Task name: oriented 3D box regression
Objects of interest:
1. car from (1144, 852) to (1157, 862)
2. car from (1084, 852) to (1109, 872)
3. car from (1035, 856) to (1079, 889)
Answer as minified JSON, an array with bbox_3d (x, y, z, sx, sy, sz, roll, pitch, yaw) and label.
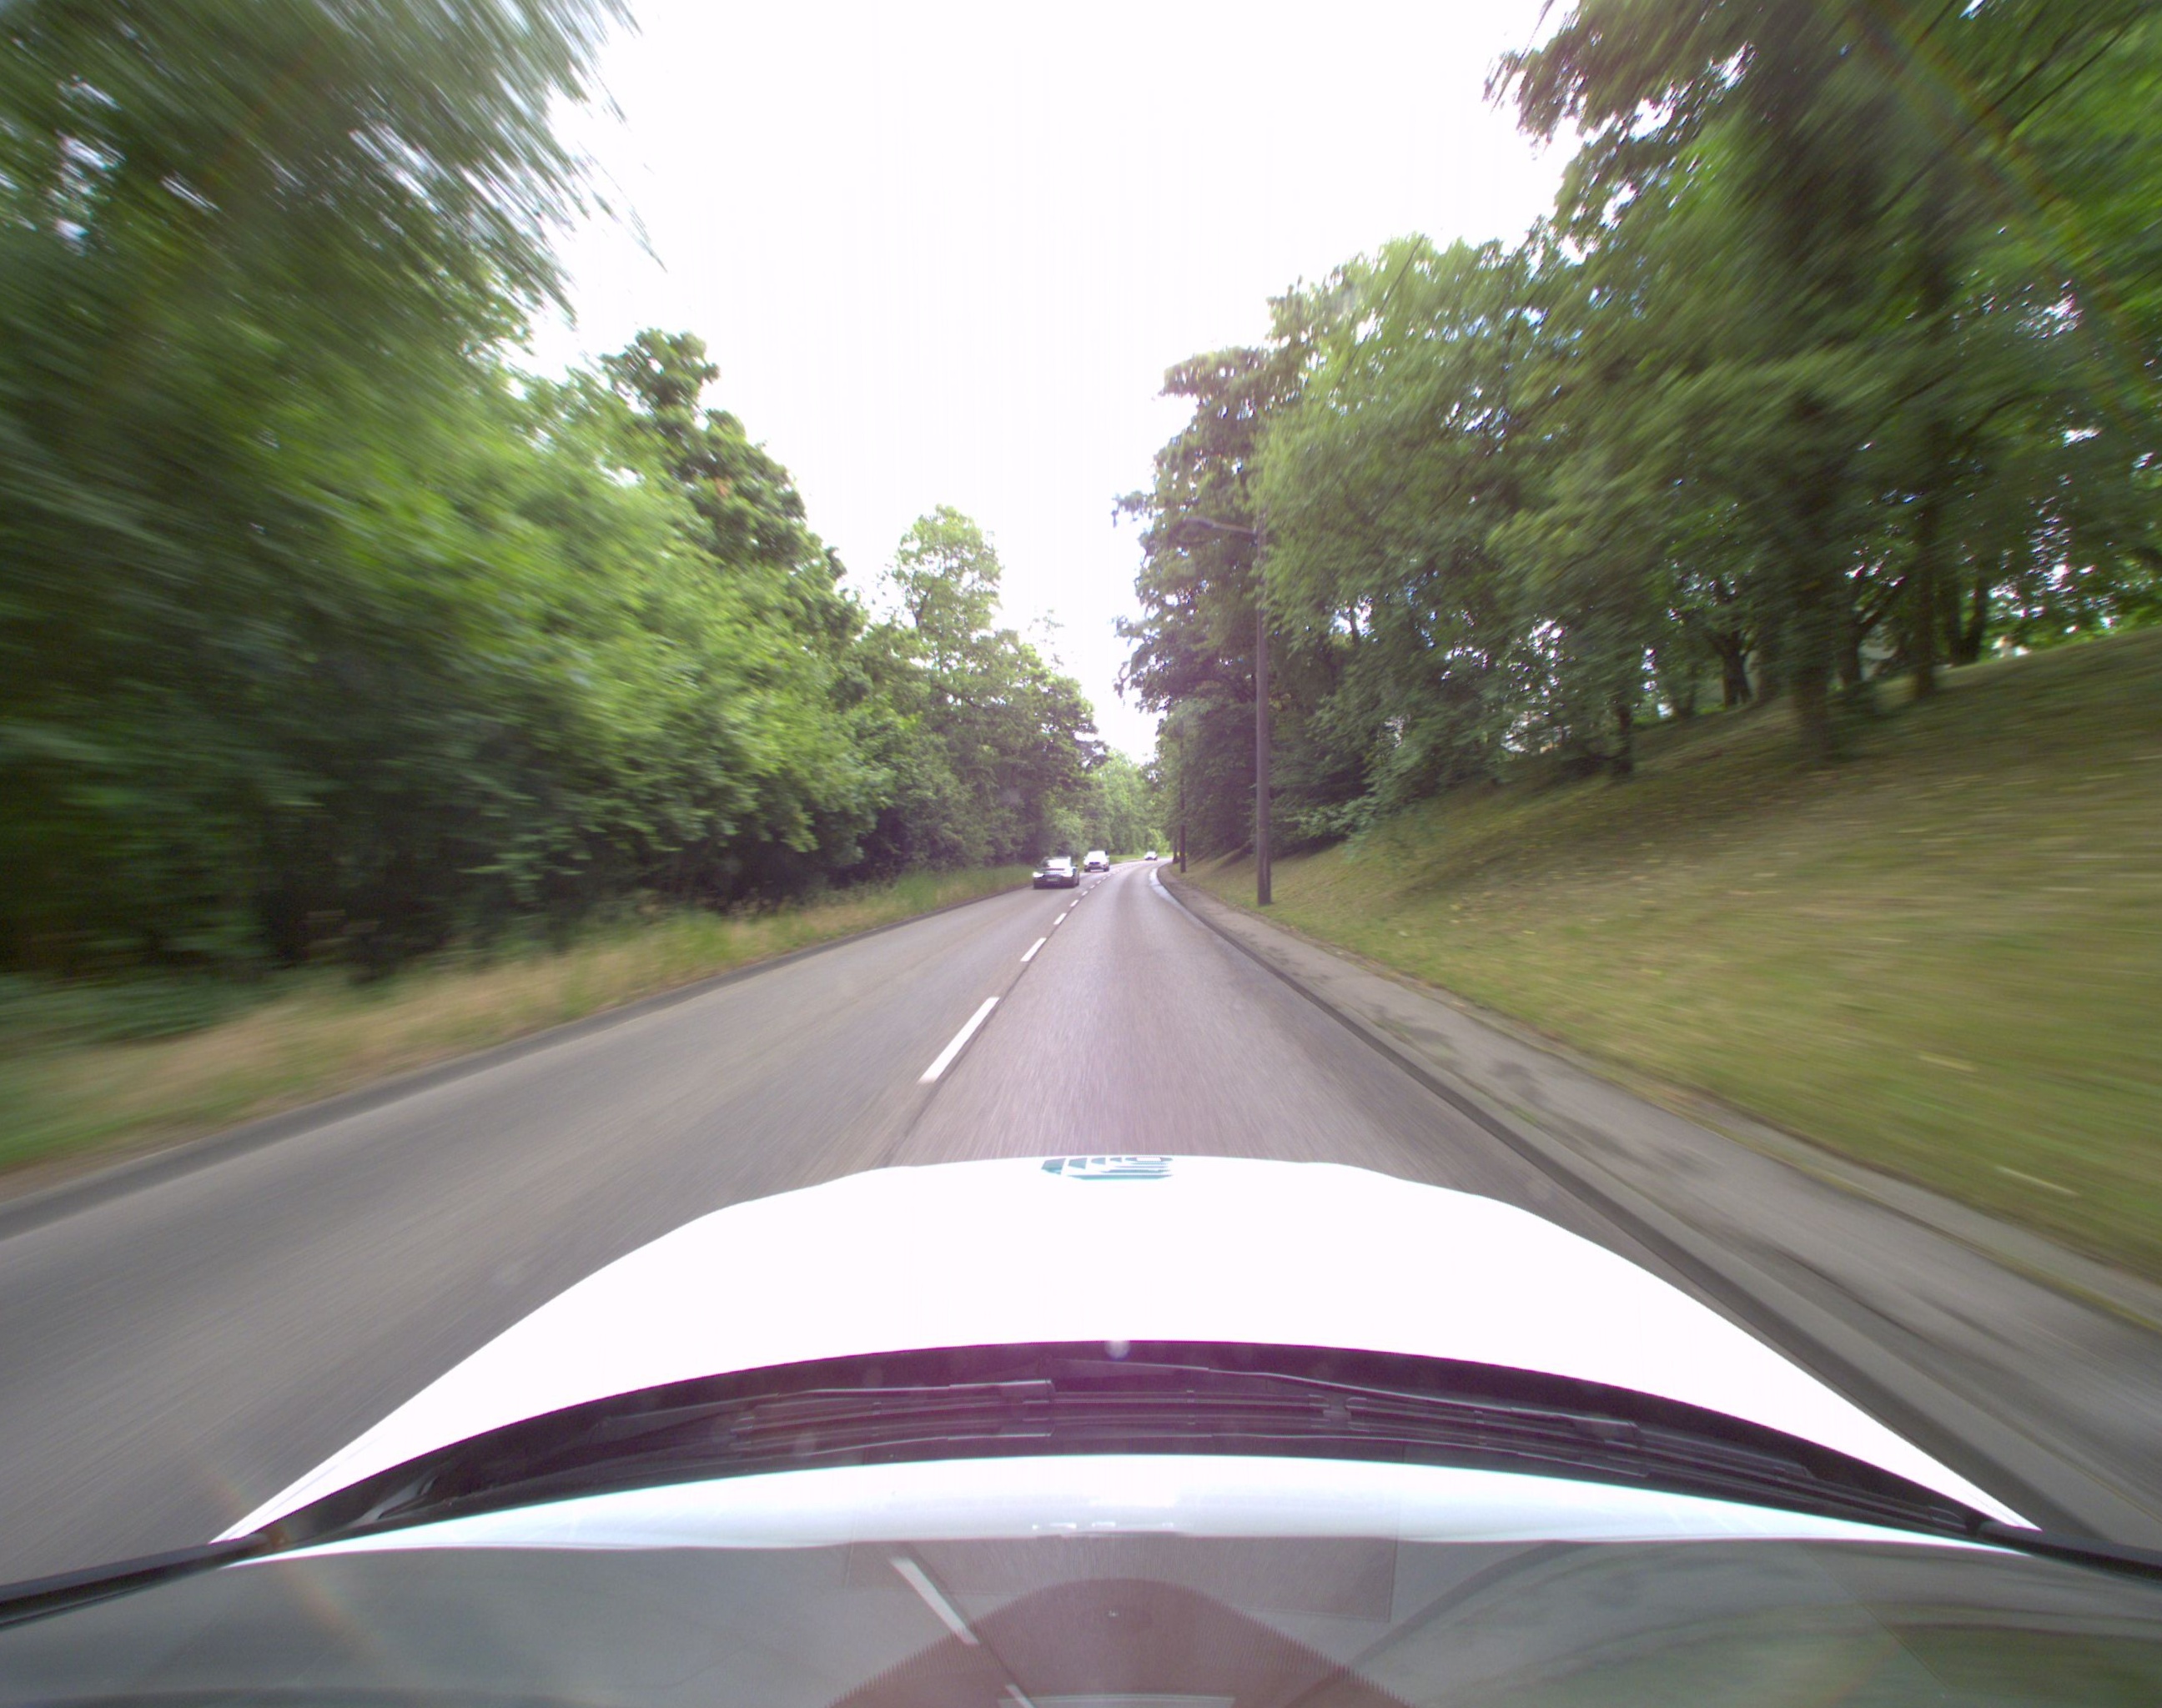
[{"bbox_3d":[11.969,0.509,140.754,1.986,1.542,4.001,-1,0,1],"label":"car"},{"bbox_3d":[1.285,0.644,67.352,1.935,1.581,4.442,-1,0,1],"label":"car"},{"bbox_3d":[-1.058,0.808,38.139,1.803,1.420,4.001,-1,0,1],"label":"car"}]
